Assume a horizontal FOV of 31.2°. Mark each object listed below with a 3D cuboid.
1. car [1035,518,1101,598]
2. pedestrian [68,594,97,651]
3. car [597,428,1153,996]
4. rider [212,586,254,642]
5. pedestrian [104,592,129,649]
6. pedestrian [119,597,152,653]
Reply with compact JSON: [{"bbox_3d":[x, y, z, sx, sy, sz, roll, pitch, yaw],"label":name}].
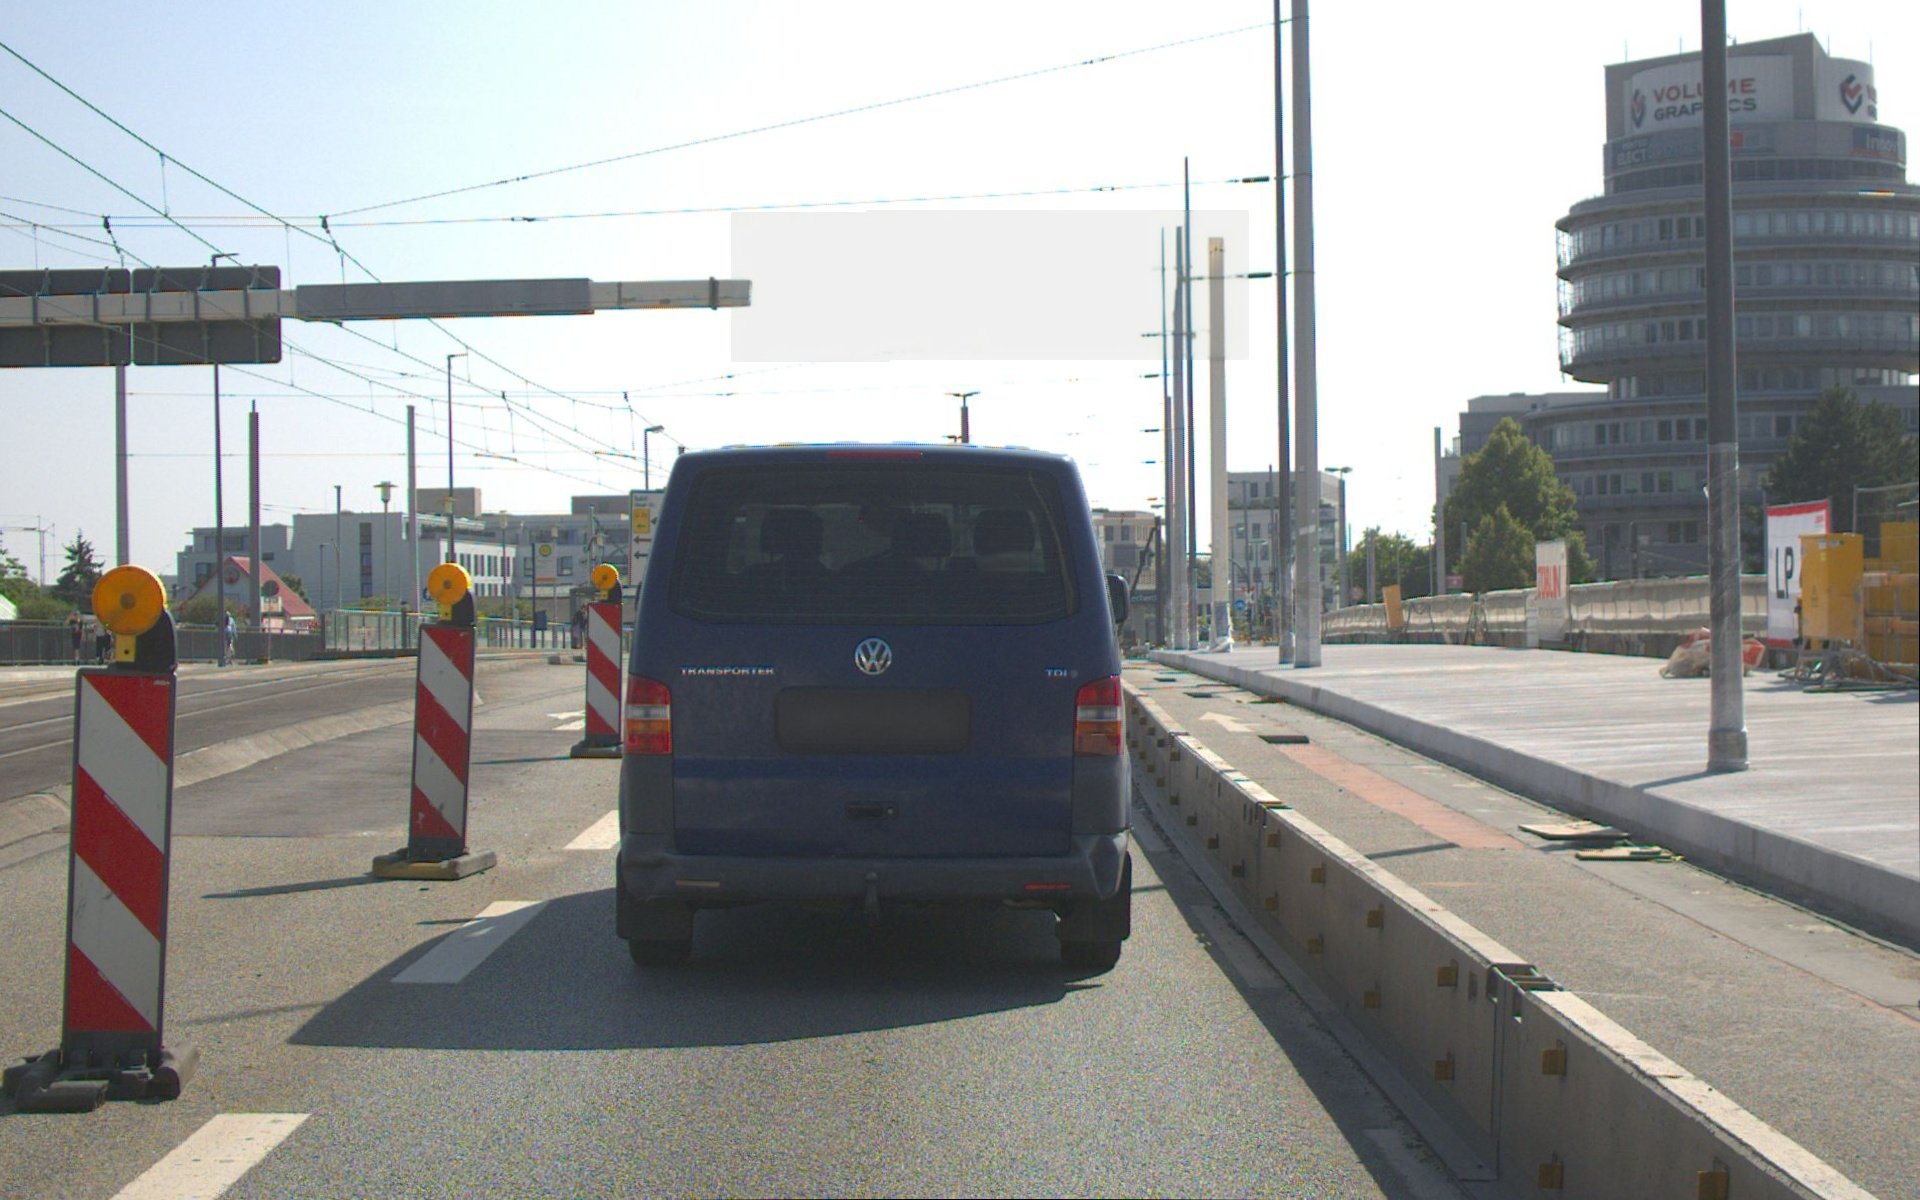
[{"bbox_3d":[3.995,-1.531,128.262,2.339,2.877,5.970,1,0,1],"label":"car"},{"bbox_3d":[-25.861,0.661,101.299,0.597,1.681,0.817,-1,0,3],"label":"pedestrian"},{"bbox_3d":[-0.311,0.386,13.865,1.888,1.927,4.000,1,0,0],"label":"car"},{"bbox_3d":[-22.982,0.428,108.729,0.763,1.727,2.951,0,0,-1],"label":"rider"},{"bbox_3d":[-24.939,0.598,101.688,0.486,1.681,0.808,-1,0,3],"label":"pedestrian"},{"bbox_3d":[-24.992,0.758,104.233,0.753,1.681,0.731,-1,0,3],"label":"pedestrian"}]
